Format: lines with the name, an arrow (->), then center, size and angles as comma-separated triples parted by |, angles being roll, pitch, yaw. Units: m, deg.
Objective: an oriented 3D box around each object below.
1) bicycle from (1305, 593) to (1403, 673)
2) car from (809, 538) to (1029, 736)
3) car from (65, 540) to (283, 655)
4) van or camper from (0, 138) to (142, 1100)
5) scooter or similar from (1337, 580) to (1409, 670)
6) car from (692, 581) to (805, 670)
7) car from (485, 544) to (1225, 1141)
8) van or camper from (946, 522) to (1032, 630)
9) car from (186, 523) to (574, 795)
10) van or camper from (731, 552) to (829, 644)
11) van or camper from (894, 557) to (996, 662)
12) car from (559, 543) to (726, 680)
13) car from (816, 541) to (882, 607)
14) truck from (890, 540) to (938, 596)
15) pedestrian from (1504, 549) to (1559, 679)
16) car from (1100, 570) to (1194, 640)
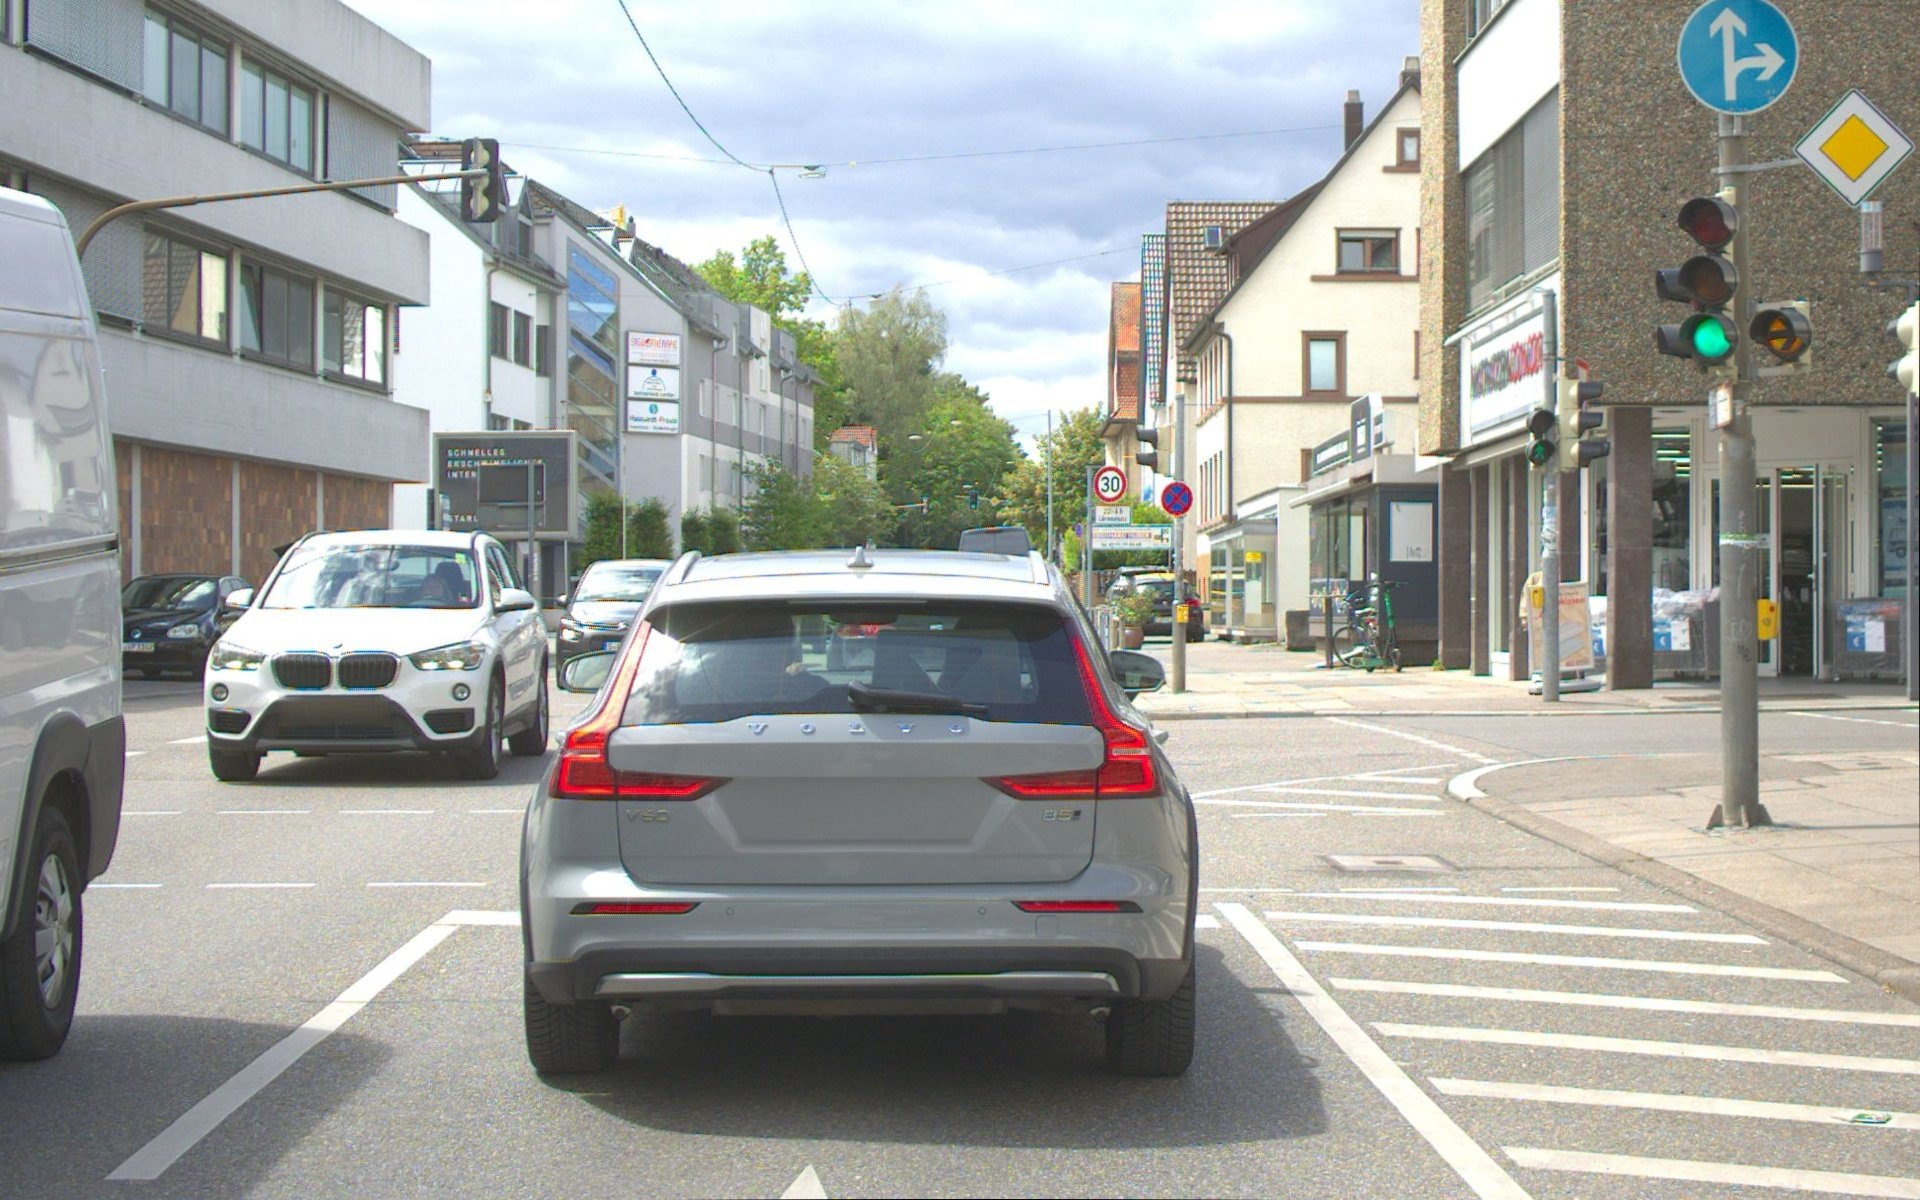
bicycle -> 5.846, 0.478, 51.160 | 0.554, 1.140, 2.301 | -1, 0, -17
car -> -0.321, 0.286, 27.916 | 1.650, 1.477, 3.607 | 1, 0, 0
car -> -10.766, -0.034, 47.352 | 1.785, 1.459, 4.086 | 2, 0, 4
van or camper -> -3.588, 0.074, 8.077 | 2.148, 2.547, 5.438 | -1, 1, -2
scooter or similar -> 5.804, 0.358, 48.349 | 0.340, 1.249, 1.246 | -2, 0, -26
car -> -3.743, 0.442, 61.471 | 1.683, 1.492, 3.967 | -2, 0, 1
car -> -0.276, 0.573, 10.561 | 1.836, 1.481, 4.000 | 0, 1, 0
van or camper -> 0.755, -0.607, 88.006 | 2.123, 2.677, 4.781 | 0, 0, 1
car -> -3.808, 0.345, 23.264 | 1.780, 1.634, 4.220 | -1, 0, 1
van or camper -> -3.852, -0.073, 74.064 | 1.864, 1.891, 4.692 | 0, 1, 0
van or camper -> -0.277, 0.205, 63.043 | 1.819, 1.829, 4.000 | 0, -2, 0
car -> -3.953, 0.145, 43.334 | 1.789, 1.584, 4.101 | -2, 0, -2
car -> -3.301, -0.752, 102.865 | 1.838, 1.911, 4.156 | 1, 0, 0
truck -> -2.378, -1.664, 180.924 | 2.276, 2.877, 7.079 | 0, 0, 1
pedestrian -> 6.494, 0.158, 39.066 | 0.504, 1.454, 0.499 | -3, -1, 14
car -> 4.116, 0.138, 76.125 | 1.710, 1.459, 4.000 | 1, -1, -2
